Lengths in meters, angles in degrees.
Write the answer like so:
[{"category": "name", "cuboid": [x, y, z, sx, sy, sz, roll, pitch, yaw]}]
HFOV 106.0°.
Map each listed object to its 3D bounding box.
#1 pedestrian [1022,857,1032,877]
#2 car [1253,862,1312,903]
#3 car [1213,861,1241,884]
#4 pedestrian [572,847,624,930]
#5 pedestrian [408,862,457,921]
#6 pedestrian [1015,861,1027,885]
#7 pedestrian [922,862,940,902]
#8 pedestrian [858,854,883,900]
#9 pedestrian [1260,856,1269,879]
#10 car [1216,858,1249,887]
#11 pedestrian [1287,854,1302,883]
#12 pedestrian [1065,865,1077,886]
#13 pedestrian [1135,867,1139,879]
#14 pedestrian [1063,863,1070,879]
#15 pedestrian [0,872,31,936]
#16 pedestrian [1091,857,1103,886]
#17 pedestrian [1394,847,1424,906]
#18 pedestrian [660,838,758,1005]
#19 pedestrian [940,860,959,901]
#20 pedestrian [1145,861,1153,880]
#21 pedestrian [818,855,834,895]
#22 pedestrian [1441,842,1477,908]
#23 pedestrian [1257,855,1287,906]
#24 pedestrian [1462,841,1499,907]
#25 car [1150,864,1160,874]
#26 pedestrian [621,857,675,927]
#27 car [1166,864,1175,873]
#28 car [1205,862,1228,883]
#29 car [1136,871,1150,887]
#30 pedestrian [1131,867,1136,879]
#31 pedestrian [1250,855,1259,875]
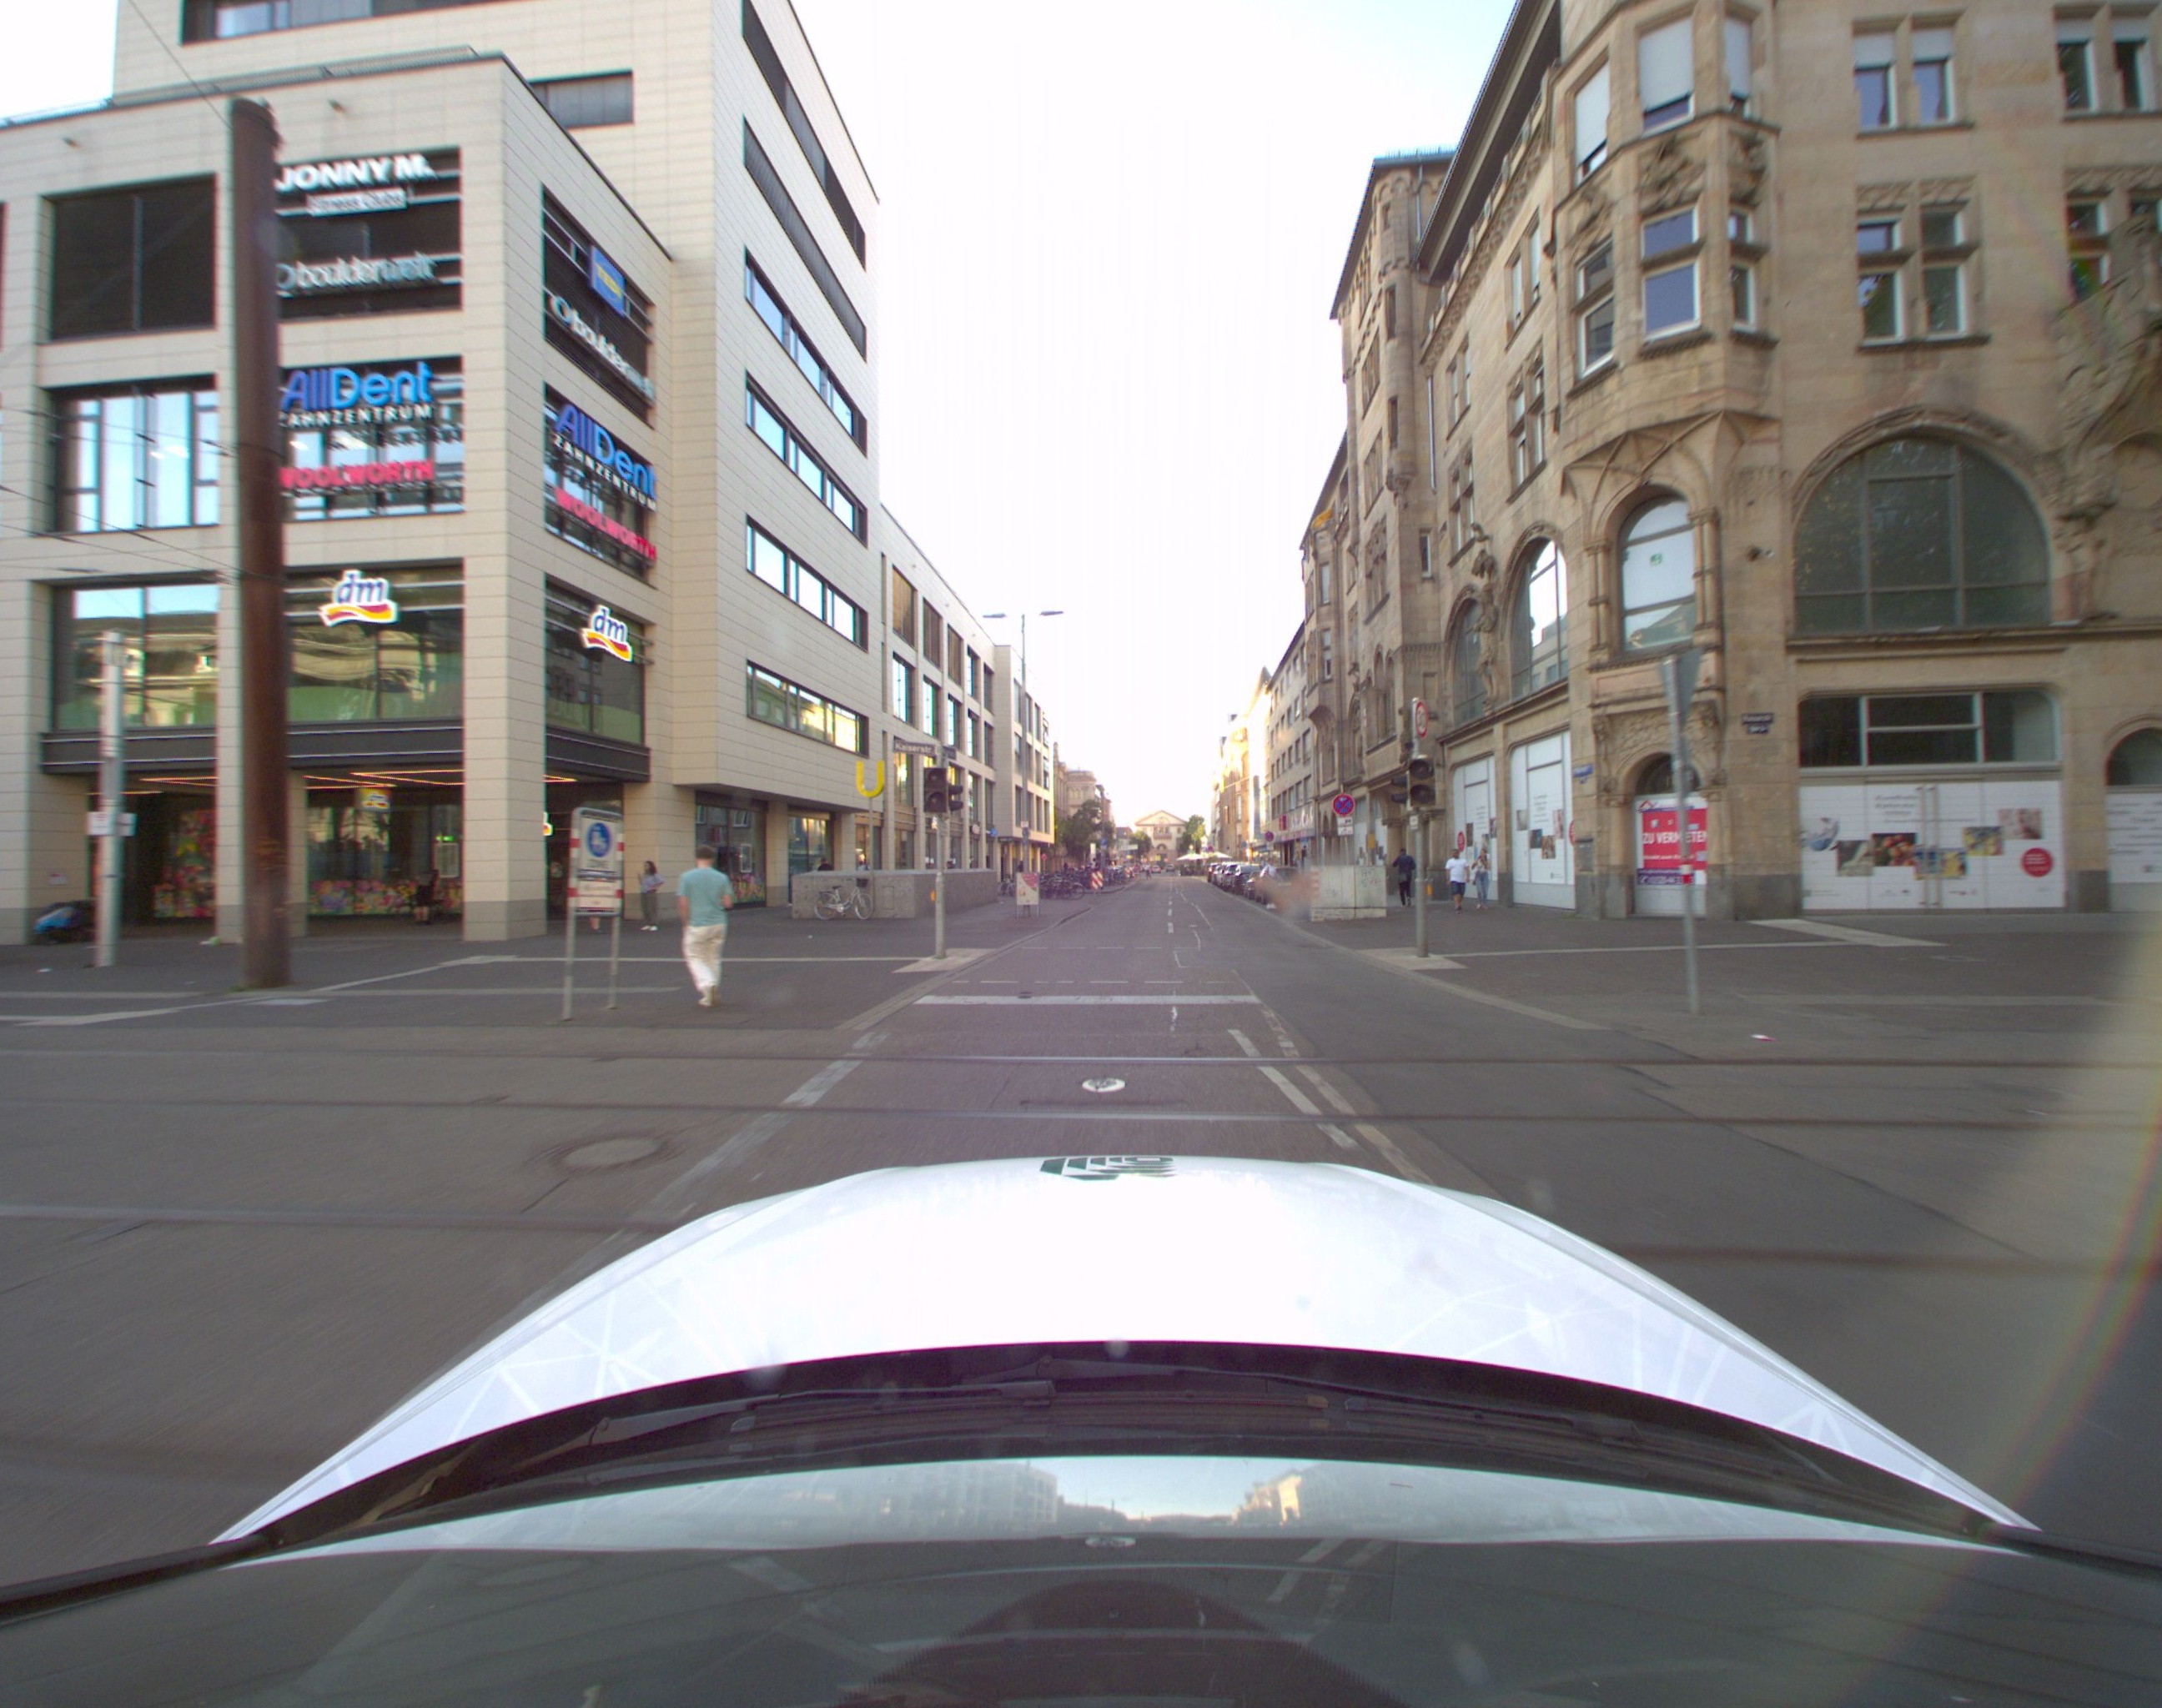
[{"category": "pedestrian", "cuboid": [-4.527, 1.083, 68.282, 0.727, 1.621, 0.662, -2, -1, 5]}, {"category": "car", "cuboid": [7.805, 1.082, 31.823, 1.670, 1.424, 3.679, -3, -1, 6]}, {"category": "car", "cuboid": [10.776, 1.372, 60.327, 1.670, 1.547, 3.679, -3, -1, 6]}, {"category": "pedestrian", "cuboid": [-11.079, 0.776, 18.700, 0.568, 1.855, 0.820, 0, -1, 18]}, {"category": "pedestrian", "cuboid": [-17.179, 0.973, 21.587, 0.568, 1.526, 0.794, 0, -1, 18]}, {"category": "pedestrian", "cuboid": [-4.101, 1.280, 55.678, 0.676, 1.621, 0.574, -2, -1, 5]}, {"category": "pedestrian", "cuboid": [-6.225, 1.159, 33.794, 0.597, 1.646, 0.546, 0, -1, 3]}, {"category": "pedestrian", "cuboid": [-8.128, 0.890, 31.404, 0.778, 1.751, 0.600, 0, -1, 3]}, {"category": "pedestrian", "cuboid": [15.005, 1.105, 66.623, 0.641, 1.800, 0.672, -2, -1, 4]}, {"category": "car", "cuboid": [10.103, 1.233, 54.614, 1.790, 1.768, 4.404, -3, -1, 6]}, {"category": "pedestrian", "cuboid": [12.487, 0.858, 47.636, 0.641, 1.690, 0.672, -2, -1, 4]}, {"category": "pedestrian", "cuboid": [-0.726, 1.567, 59.522, 0.747, 1.529, 0.485, -2, -1, 5]}, {"category": "pedestrian", "cuboid": [6.813, 2.311, 99.163, 0.547, 1.486, 0.566, -2, -1, 4]}, {"category": "pedestrian", "cuboid": [-1.465, 1.712, 83.182, 0.676, 1.621, 0.574, -2, -1, 5]}, {"category": "pedestrian", "cuboid": [-28.426, 1.303, 21.386, 0.809, 1.680, 0.685, 0, -1, 7]}, {"category": "pedestrian", "cuboid": [1.013, 1.096, 51.642, 0.655, 1.823, 0.527, -1, -1, -4]}, {"category": "pedestrian", "cuboid": [9.758, 0.667, 24.236, 0.622, 1.690, 0.672, -2, -1, 4]}, {"category": "pedestrian", "cuboid": [-4.127, 0.723, 9.103, 0.867, 1.761, 0.763, 0, -1, -16]}, {"category": "pedestrian", "cuboid": [-5.451, 1.094, 33.757, 0.678, 1.681, 0.600, 0, -1, 3]}, {"category": "pedestrian", "cuboid": [6.693, 1.647, 80.099, 0.594, 1.823, 0.454, -2, -1, 14]}, {"category": "pedestrian", "cuboid": [-9.667, 0.799, 30.867, 0.388, 1.515, 0.506, -1, -1, 5]}, {"category": "pedestrian", "cuboid": [9.841, 0.544, 21.223, 0.622, 1.690, 0.672, -2, -1, 4]}, {"category": "pedestrian", "cuboid": [6.587, 0.897, 28.152, 0.832, 1.721, 0.681, -1, -1, -2]}, {"category": "pedestrian", "cuboid": [10.570, 0.522, 21.557, 0.622, 1.690, 0.627, -2, -1, 4]}, {"category": "car", "cuboid": [14.772, 2.978, 162.589, 1.983, 1.904, 4.006, 0, -1, 6]}, {"category": "pedestrian", "cuboid": [-10.489, 0.905, 19.746, 0.760, 1.659, 0.820, 0, -1, 20]}, {"category": "car", "cuboid": [19.954, 3.167, 181.372, 1.983, 1.904, 4.006, 0, -1, 6]}, {"category": "car", "cuboid": [11.753, 1.605, 70.633, 1.670, 1.666, 3.679, -3, -1, 6]}, {"category": "car", "cuboid": [8.047, 3.246, 105.483, 1.702, 2.014, 4.006, -2, -1, 6]}, {"category": "pedestrian", "cuboid": [6.484, 2.308, 100.059, 0.547, 1.486, 0.566, -2, -1, 4]}, {"category": "pedestrian", "cuboid": [15.557, 0.954, 72.947, 0.641, 1.746, 0.672, -2, -1, 4]}]
